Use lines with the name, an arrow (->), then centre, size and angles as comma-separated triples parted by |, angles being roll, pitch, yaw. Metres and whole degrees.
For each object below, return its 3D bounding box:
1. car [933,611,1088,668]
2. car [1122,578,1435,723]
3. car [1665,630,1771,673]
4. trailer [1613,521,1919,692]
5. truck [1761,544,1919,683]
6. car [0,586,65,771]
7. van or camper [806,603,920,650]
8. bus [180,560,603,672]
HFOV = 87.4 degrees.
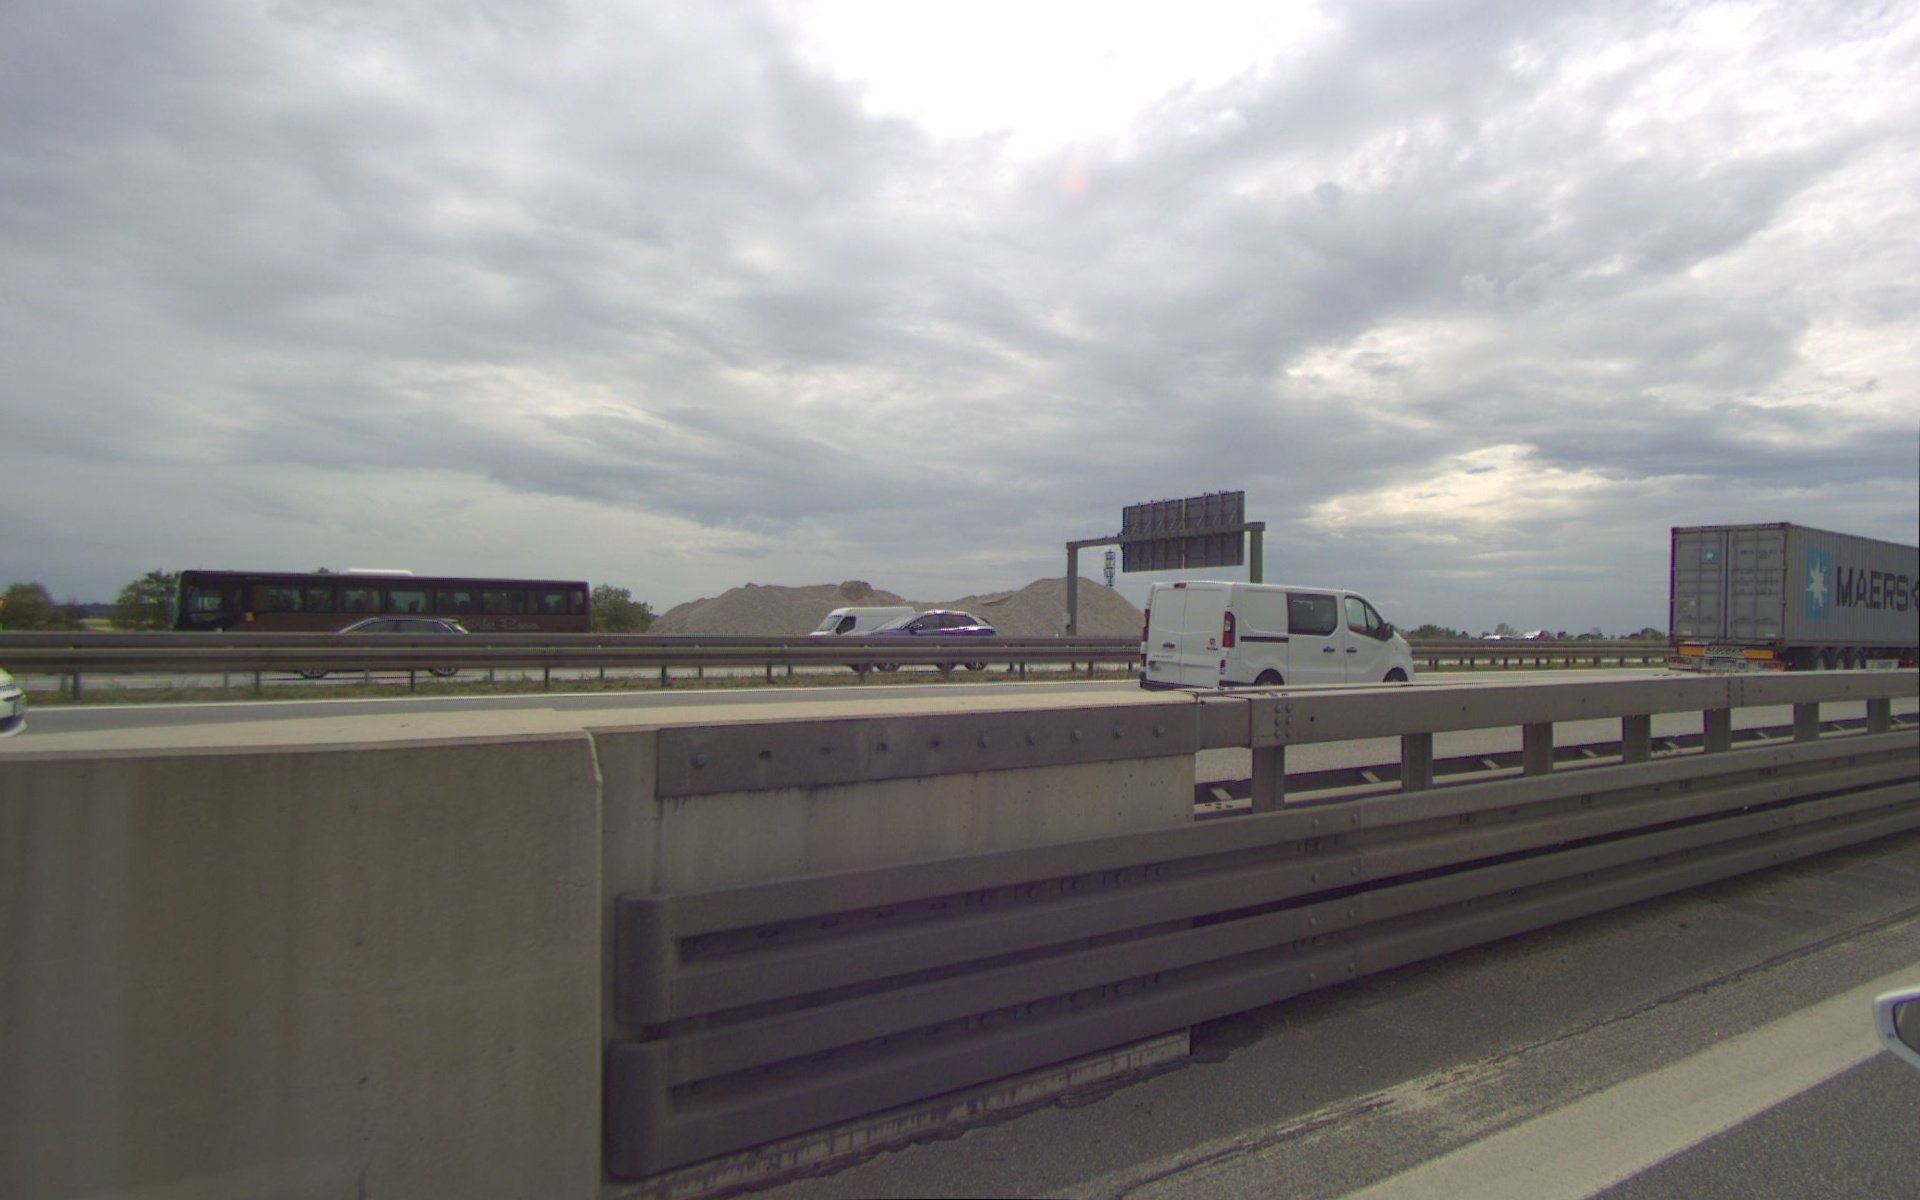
car -> 1.472, 1.117, 28.935 | 4.098, 1.488, 1.981 | 2, 0, -34
car -> 5.132, 0.759, 15.895 | 5.078, 1.963, 1.988 | 2, -1, -34
car -> 26.584, 1.777, 35.196 | 4.163, 1.387, 1.741 | 2, -1, -35
trailer -> 22.954, 0.296, 28.067 | 12.249, 3.976, 3.217 | 2, 0, -33
truck -> 28.721, 0.454, 31.864 | 6.539, 3.963, 3.228 | 2, 0, -33
car -> -9.622, 0.596, 7.830 | 3.738, 1.504, 1.669 | 2, -2, -36
van or camper -> -4.419, 1.240, 46.139 | 4.833, 2.040, 1.981 | 2, 0, -34
bus -> -20.004, 0.654, 36.486 | 12.860, 3.488, 3.193 | 2, 0, -35
